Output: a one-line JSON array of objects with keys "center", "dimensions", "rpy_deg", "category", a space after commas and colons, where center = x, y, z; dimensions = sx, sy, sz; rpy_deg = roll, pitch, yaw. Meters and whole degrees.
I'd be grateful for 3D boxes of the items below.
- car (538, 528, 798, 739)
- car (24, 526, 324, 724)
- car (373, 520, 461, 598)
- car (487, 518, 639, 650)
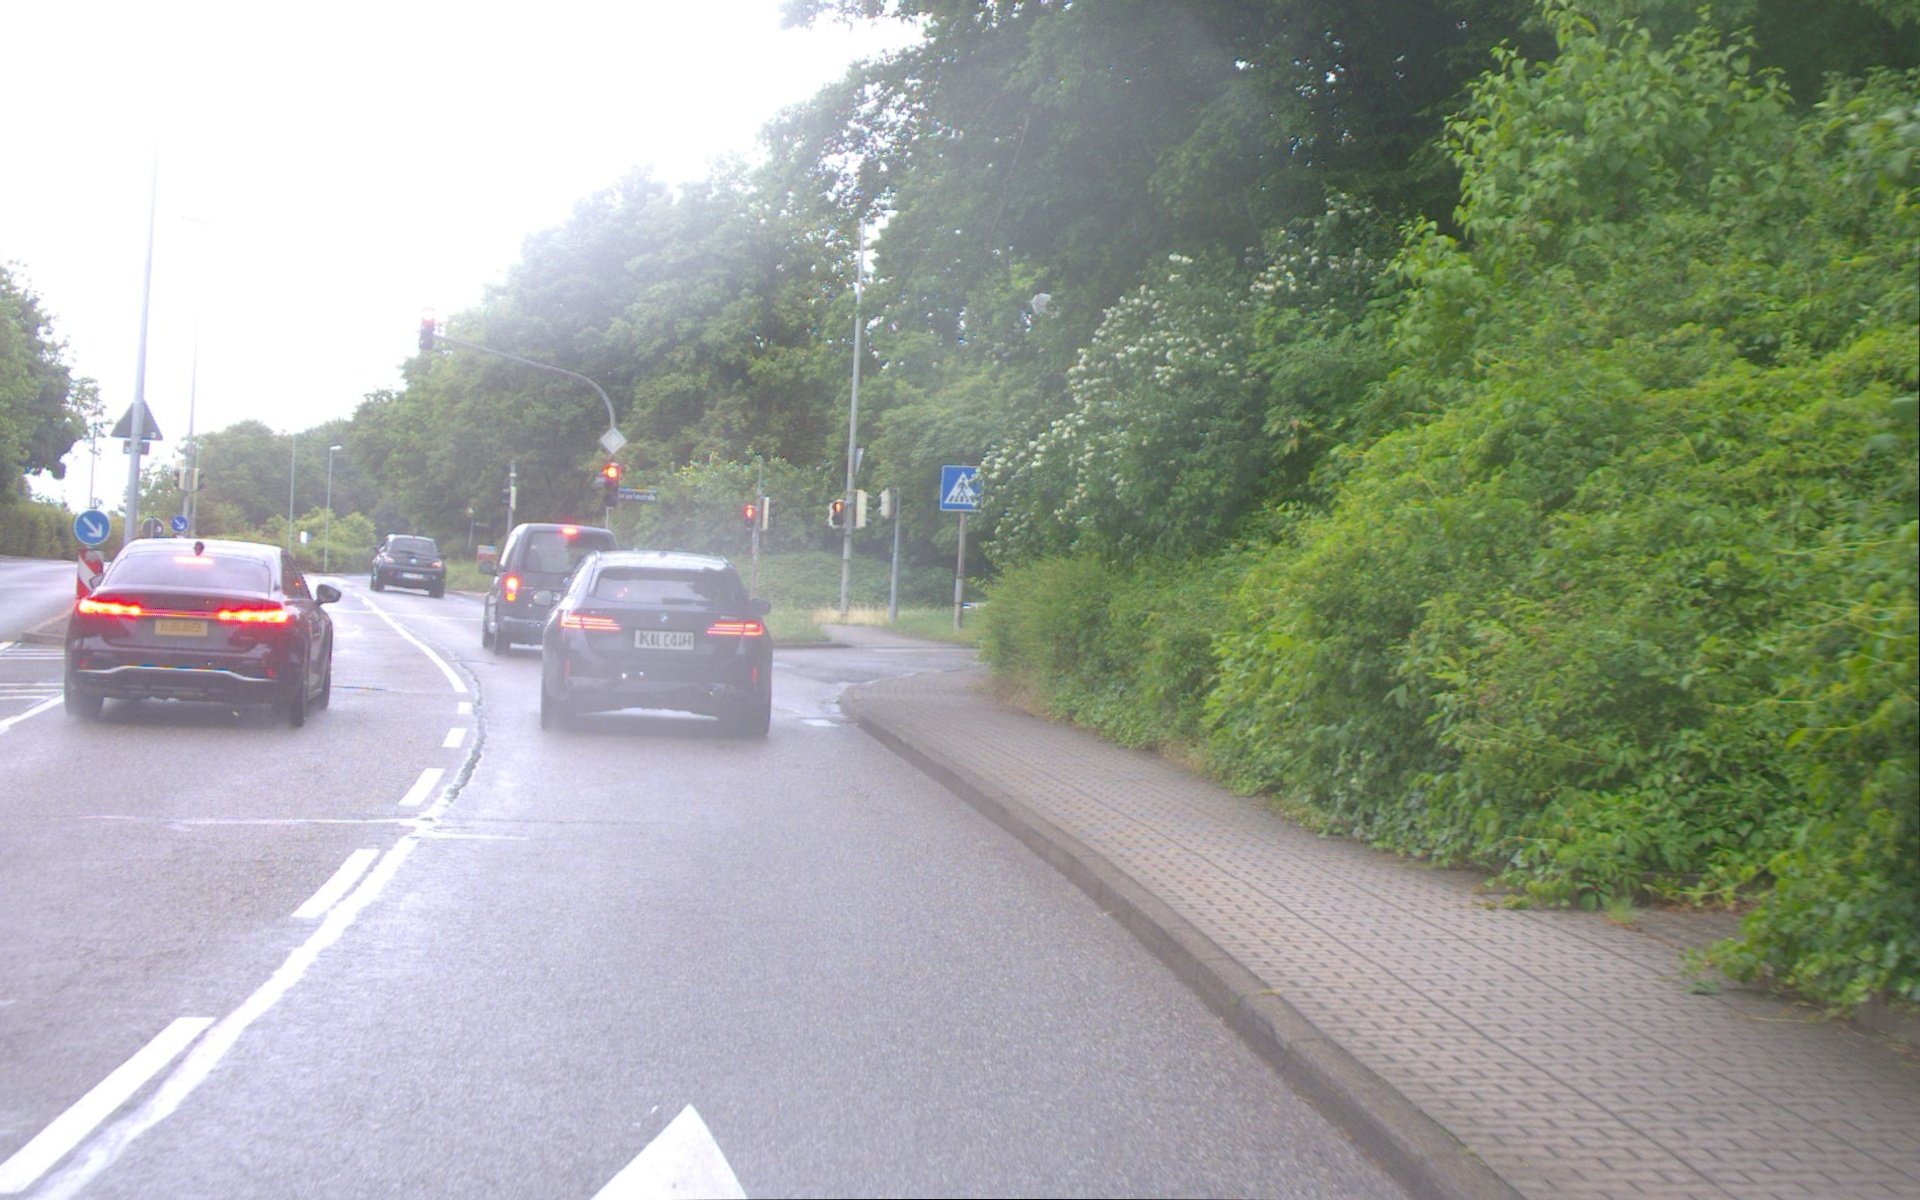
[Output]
[{"center": [-2.529, 0.219, 29.477], "dimensions": [1.993, 1.581, 4.664], "rpy_deg": [2, 1, -6], "category": "car"}, {"center": [-6.363, 0.140, 28.308], "dimensions": [1.905, 1.393, 4.858], "rpy_deg": [2, 1, -7], "category": "car"}, {"center": [-13.537, -1.002, 85.515], "dimensions": [1.850, 1.656, 4.001], "rpy_deg": [3, -3, -12], "category": "car"}, {"center": [-5.542, -0.220, 47.779], "dimensions": [1.993, 1.743, 4.001], "rpy_deg": [1, 0, -7], "category": "car"}]
